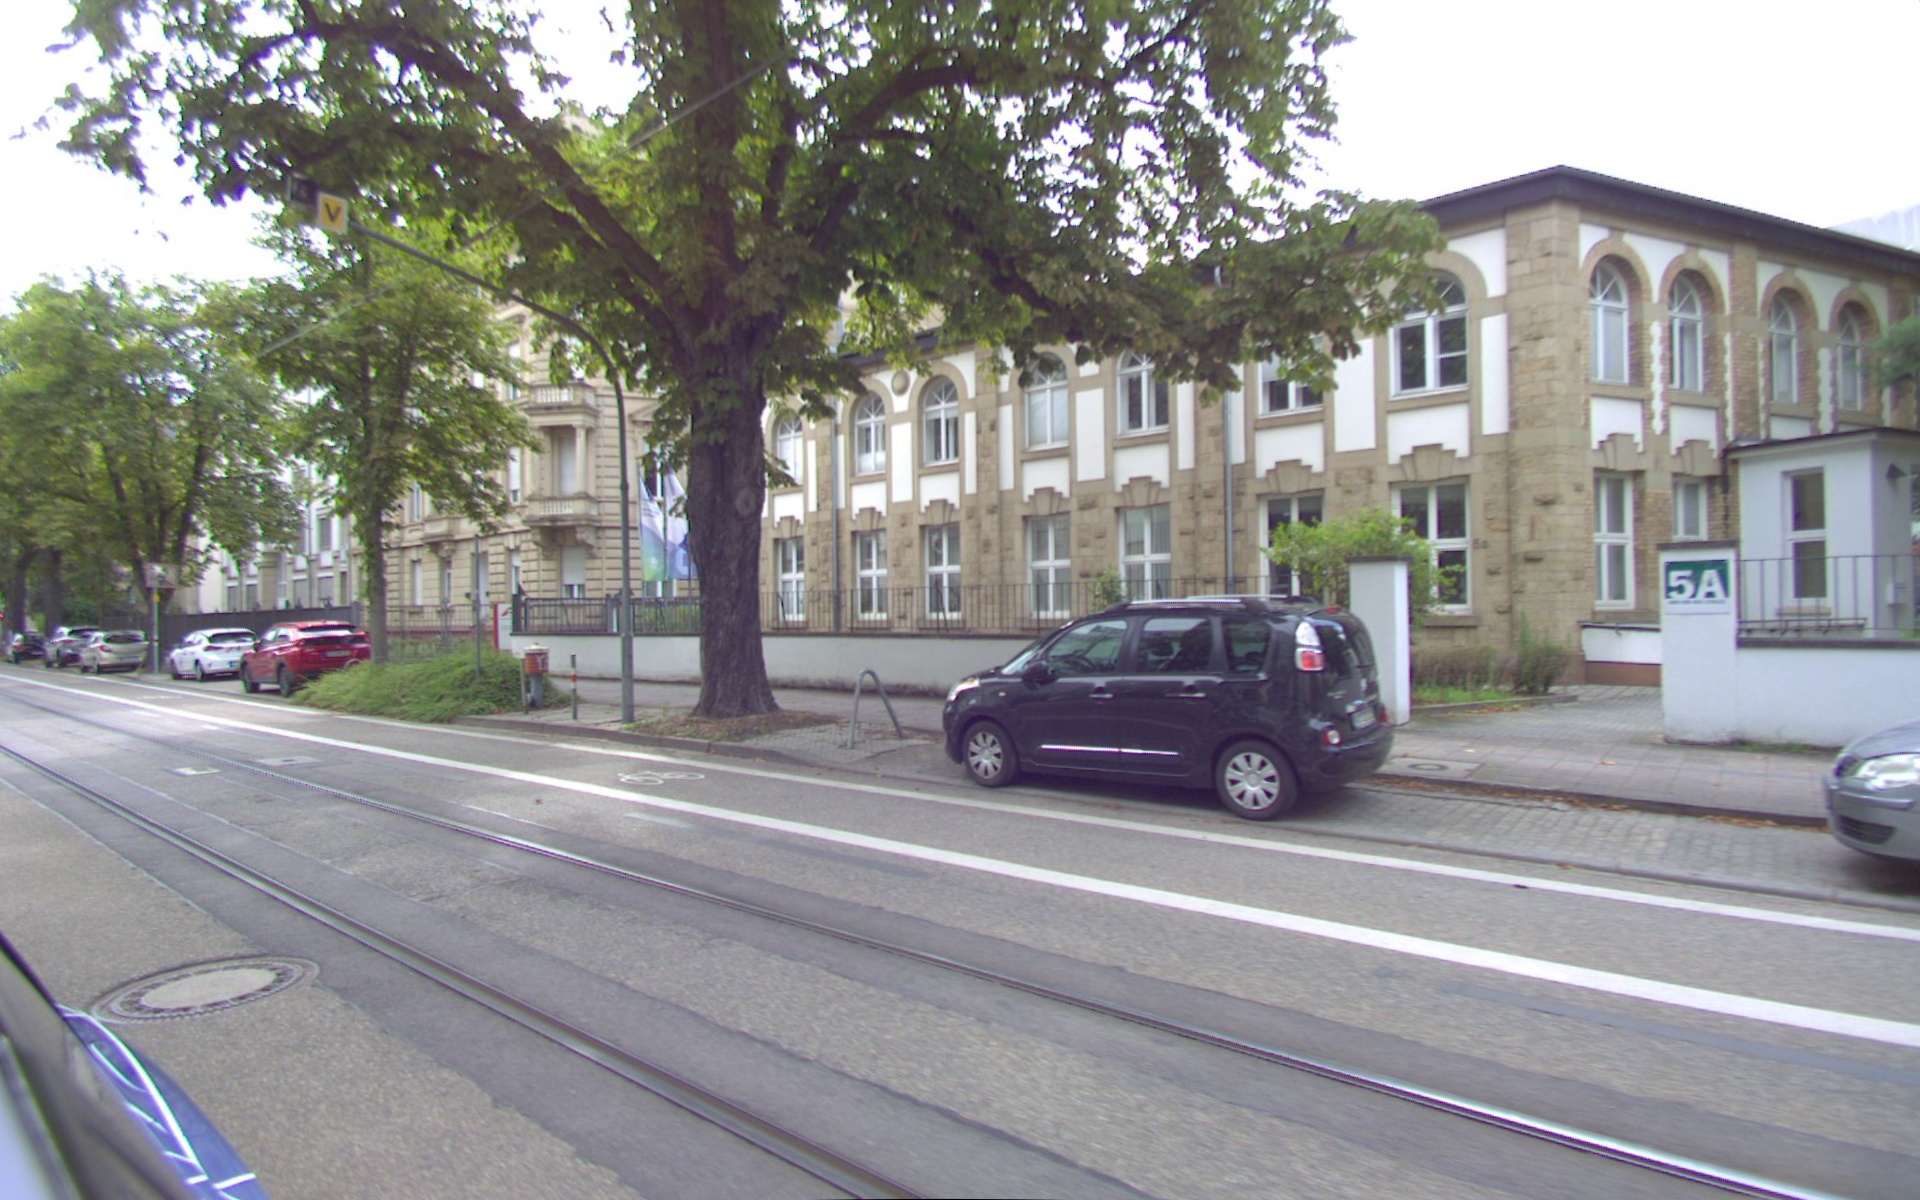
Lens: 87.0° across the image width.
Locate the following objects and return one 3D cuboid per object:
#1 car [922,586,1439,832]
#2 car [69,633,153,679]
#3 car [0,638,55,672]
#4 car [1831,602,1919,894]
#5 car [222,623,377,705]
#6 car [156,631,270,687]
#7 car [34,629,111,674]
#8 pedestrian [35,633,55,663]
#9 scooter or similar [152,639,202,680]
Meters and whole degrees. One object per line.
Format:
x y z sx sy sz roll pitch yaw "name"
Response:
1.765 0.779 8.843 4.048 1.659 1.738 -2 0 40 "car"
-30.054 1.951 35.789 4.075 1.479 1.584 -2 -1 40 "car"
-44.952 2.607 48.611 4.164 1.435 1.702 -2 1 42 "car"
6.658 0.713 4.704 3.864 1.438 1.676 -2 0 40 "car"
-15.579 1.438 23.783 4.537 1.667 1.704 -2 1 39 "car"
-21.954 1.680 29.686 4.019 1.434 1.704 -2 1 39 "car"
-35.816 2.057 40.815 4.353 1.686 1.693 -2 -1 40 "car"
-53.293 2.787 58.917 0.699 1.749 0.699 -2 -1 35 "pedestrian"
-24.419 1.860 31.561 1.312 1.232 0.560 -2 -1 17 "scooter or similar"
